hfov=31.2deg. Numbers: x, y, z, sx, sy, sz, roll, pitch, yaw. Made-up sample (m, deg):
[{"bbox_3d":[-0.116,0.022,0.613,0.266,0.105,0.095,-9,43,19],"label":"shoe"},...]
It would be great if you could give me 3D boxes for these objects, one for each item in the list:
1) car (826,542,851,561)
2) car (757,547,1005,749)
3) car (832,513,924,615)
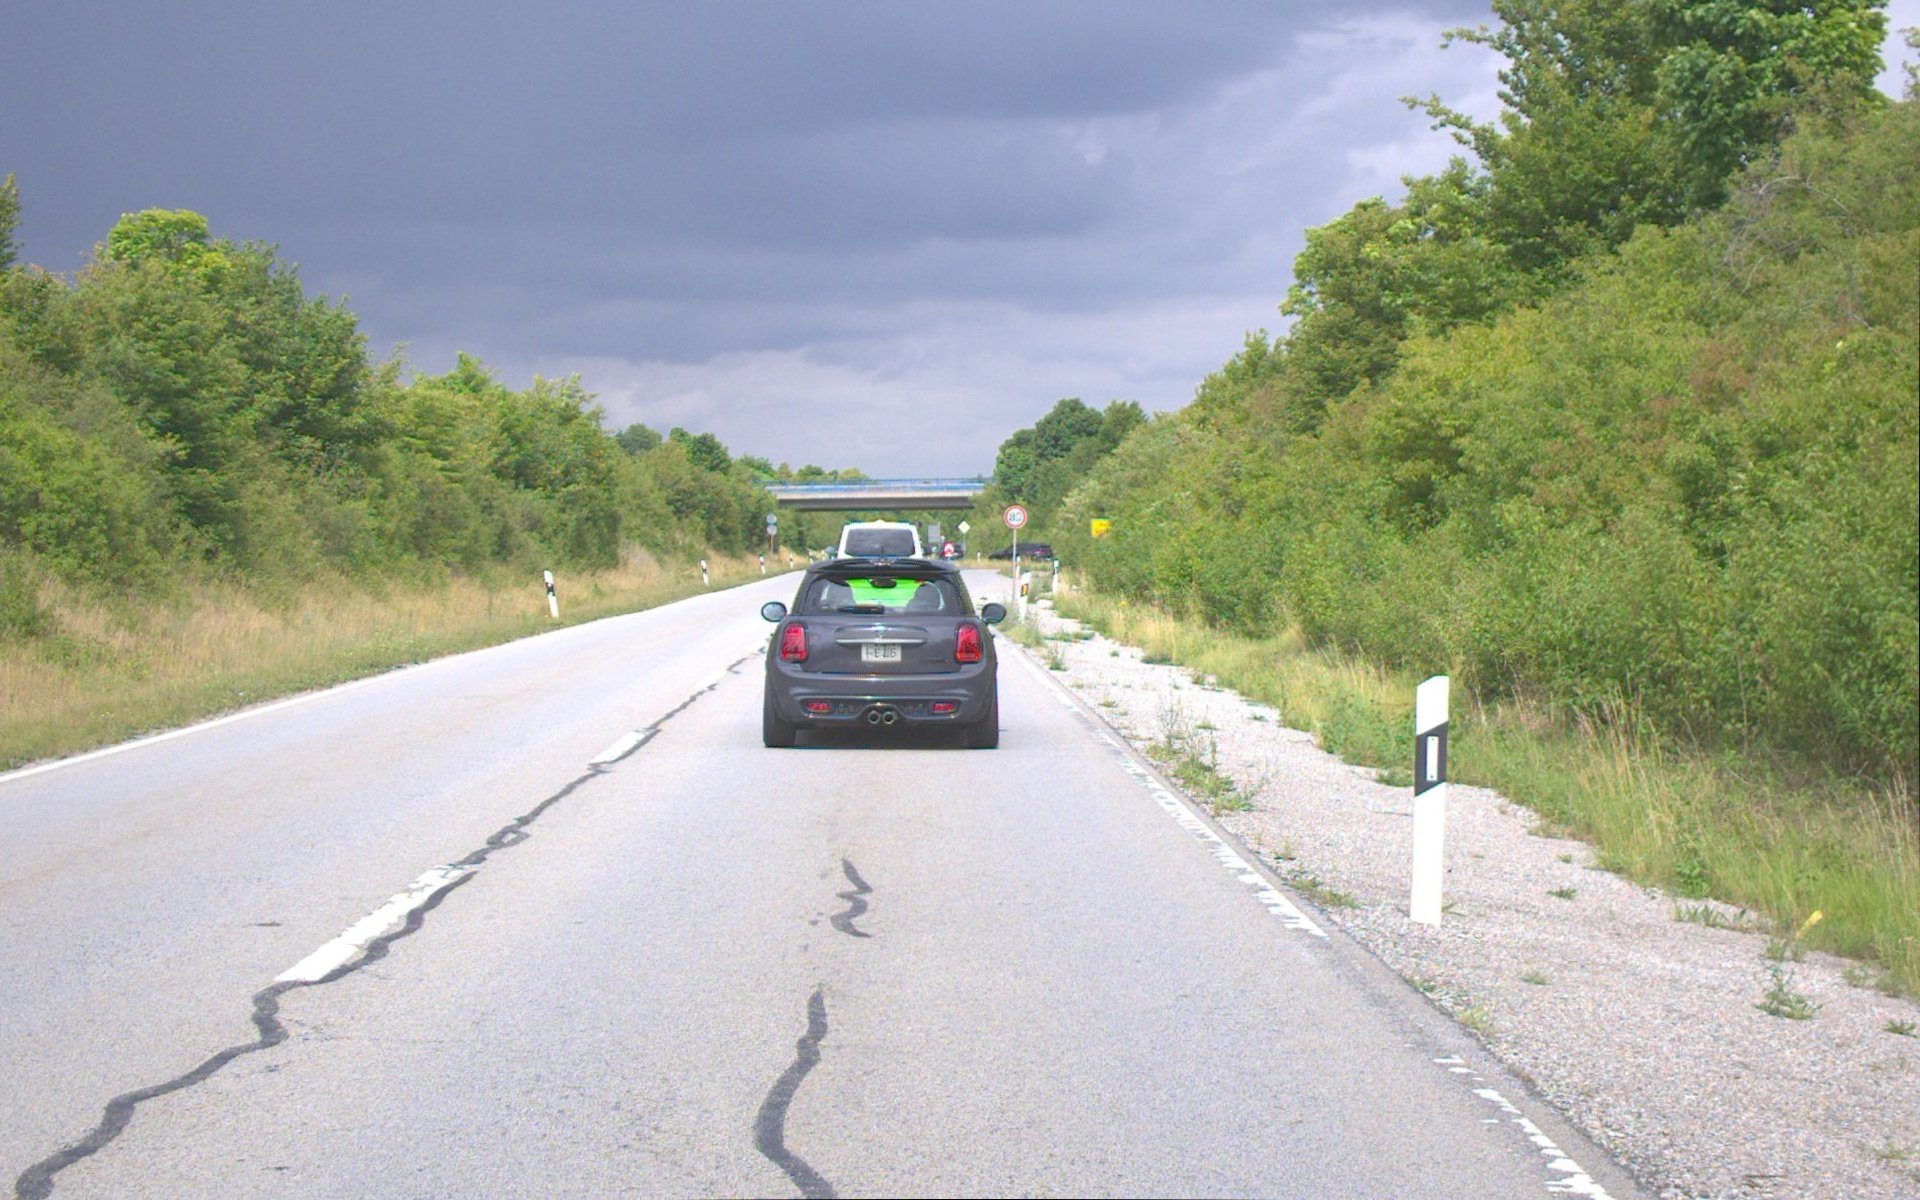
[{"bbox_3d":[-8.711,-3.478,246.868,1.701,1.326,4.000,-1,1,-1],"label":"car"},{"bbox_3d":[-0.609,0.315,26.662,1.756,1.422,4.000,1,1,-1],"label":"car"},{"bbox_3d":[-1.696,-0.760,71.378,1.819,2.047,4.000,1,1,-1],"label":"car"}]
